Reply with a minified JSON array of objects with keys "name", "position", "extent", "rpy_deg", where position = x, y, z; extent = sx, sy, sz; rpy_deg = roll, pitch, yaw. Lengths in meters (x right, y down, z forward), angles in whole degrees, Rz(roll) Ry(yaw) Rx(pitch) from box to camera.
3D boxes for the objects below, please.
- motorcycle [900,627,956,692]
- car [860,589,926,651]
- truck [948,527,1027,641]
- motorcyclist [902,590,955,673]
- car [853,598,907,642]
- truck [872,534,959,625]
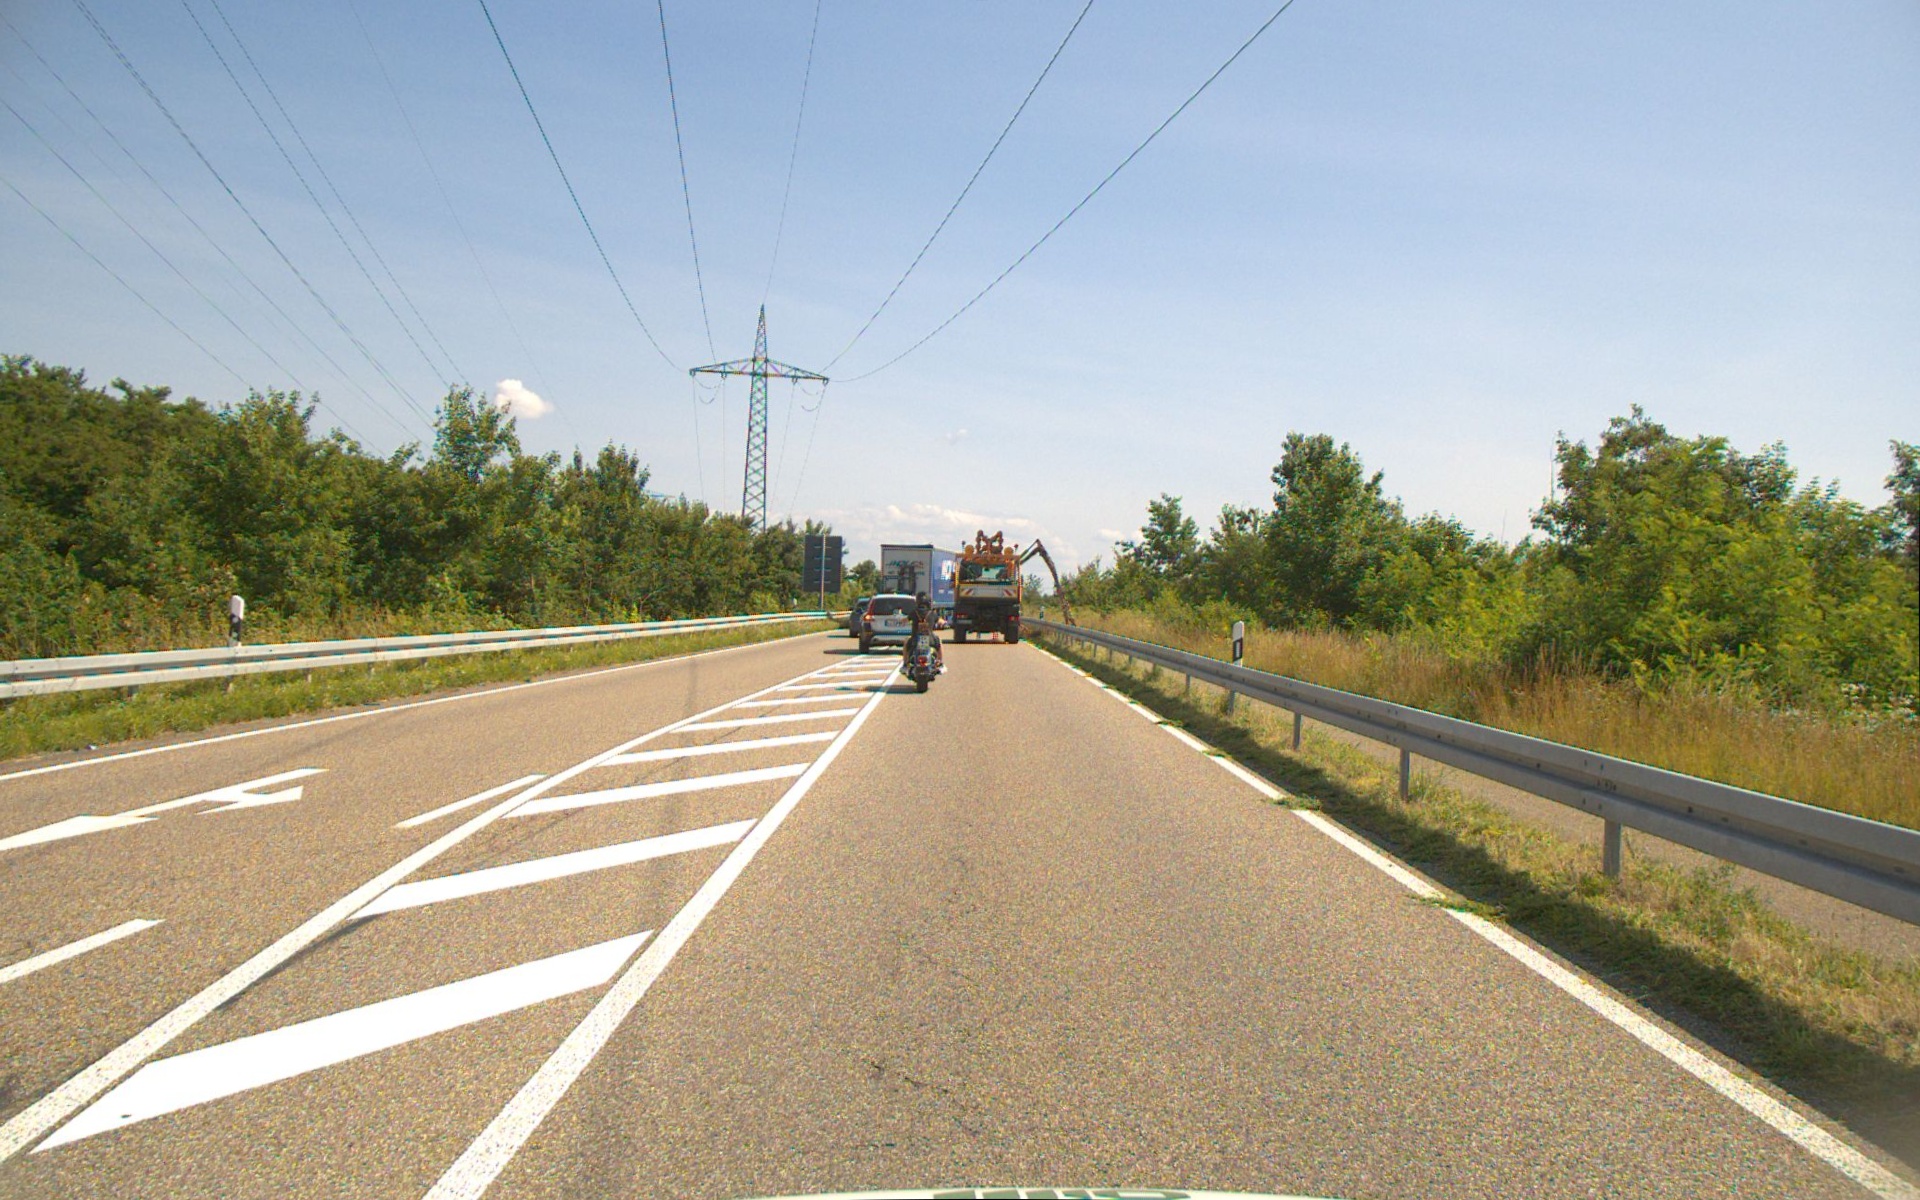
[{"name":"motorcycle","position":[-0.521,0.931,26.459],"extent":[0.841,0.931,2.227],"rpy_deg":[1,0,-2]},{"name":"car","position":[-1.826,0.517,44.266],"extent":[1.667,1.563,3.497],"rpy_deg":[1,0,-3]},{"name":"truck","position":[0.939,-0.546,58.586],"extent":[2.560,3.776,6.777],"rpy_deg":[1,0,0]},{"name":"motorcyclist","position":[-0.515,0.506,26.788],"extent":[0.820,1.303,0.919],"rpy_deg":[1,0,-2]},{"name":"car","position":[-2.951,0.702,61.341],"extent":[1.817,1.516,3.740],"rpy_deg":[1,0,-1]},{"name":"truck","position":[-2.126,-1.000,86.256],"extent":[2.905,4.260,14.830],"rpy_deg":[1,0,4]}]
